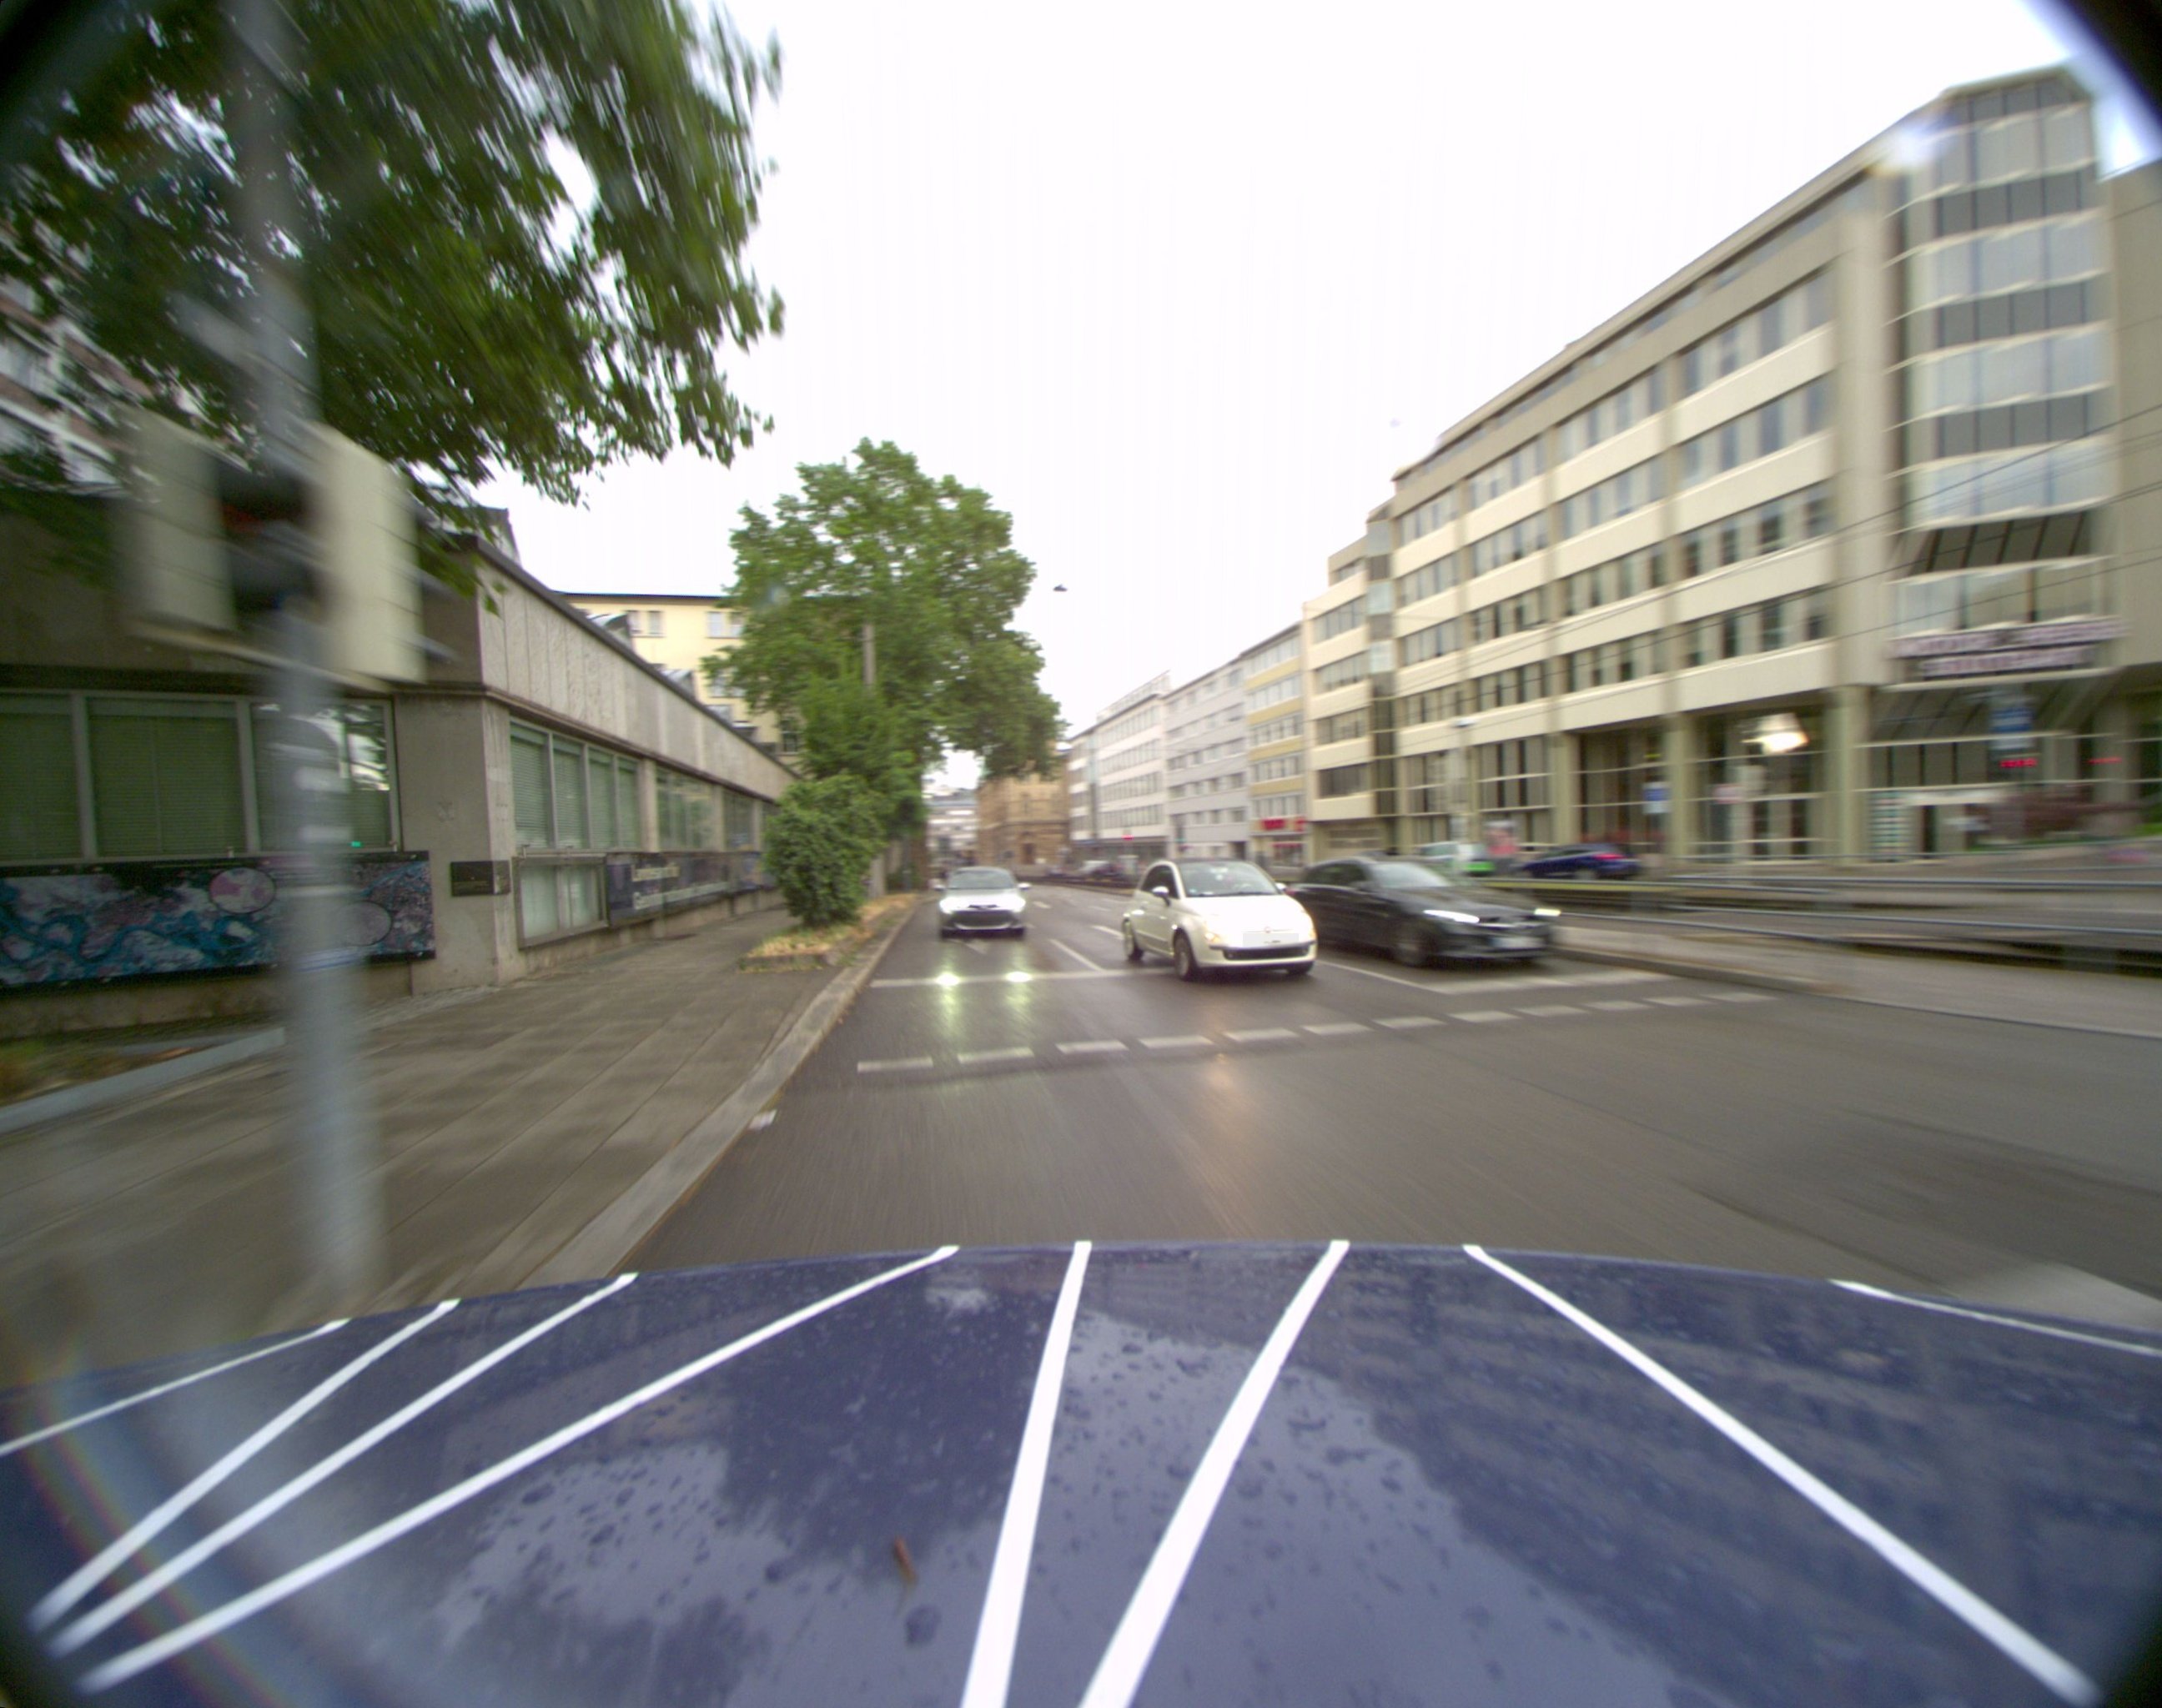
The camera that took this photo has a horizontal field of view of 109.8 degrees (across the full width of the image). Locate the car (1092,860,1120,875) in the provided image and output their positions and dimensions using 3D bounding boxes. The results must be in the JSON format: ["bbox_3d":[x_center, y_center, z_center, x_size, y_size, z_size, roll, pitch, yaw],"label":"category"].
[{"bbox_3d":[2.429,1.320,74.580,1.633,1.349,3.866,-3,0,-16],"label":"car"}]

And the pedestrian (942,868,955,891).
[{"bbox_3d":[-9.799,1.893,56.191,0.719,1.630,0.760,-4,2,0],"label":"pedestrian"}]

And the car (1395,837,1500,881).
[{"bbox_3d":[16.419,0.228,34.322,1.803,1.736,4.210,-4,1,-18],"label":"car"}]

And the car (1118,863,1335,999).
[{"bbox_3d":[1.723,0.866,10.141,1.656,1.426,3.436,-1,0,-11],"label":"car"}]

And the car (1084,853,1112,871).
[{"bbox_3d":[1.917,0.893,88.762,1.891,1.924,4.471,-4,1,-17],"label":"car"}]

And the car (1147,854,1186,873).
[{"bbox_3d":[7.527,0.813,66.911,1.891,1.505,4.072,-4,1,-17],"label":"car"}]

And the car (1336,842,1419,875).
[{"bbox_3d":[15.201,0.234,39.149,1.802,1.505,4.072,-4,1,-17],"label":"car"}]

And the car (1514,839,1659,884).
[{"bbox_3d":[18.183,0.247,27.594,1.802,1.468,4.211,-1,0,-15],"label":"car"}]

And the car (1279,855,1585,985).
[{"bbox_3d":[4.644,0.757,10.944,1.802,1.434,4.471,-1,0,-9],"label":"car"}]

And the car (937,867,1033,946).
[{"bbox_3d":[-2.191,1.039,16.850,1.813,1.426,4.294,-1,0,-9],"label":"car"}]

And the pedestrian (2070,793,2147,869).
[{"bbox_3d":[25.349,-0.563,18.762,0.759,1.777,0.831,-3,2,10],"label":"pedestrian"}]

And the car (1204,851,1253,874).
[{"bbox_3d":[10.777,0.601,55.765,1.802,1.505,4.072,-4,1,-17],"label":"car"}]

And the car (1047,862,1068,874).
[{"bbox_3d":[-2.965,1.665,93.851,1.633,1.349,3.866,-3,0,-16],"label":"car"}]
